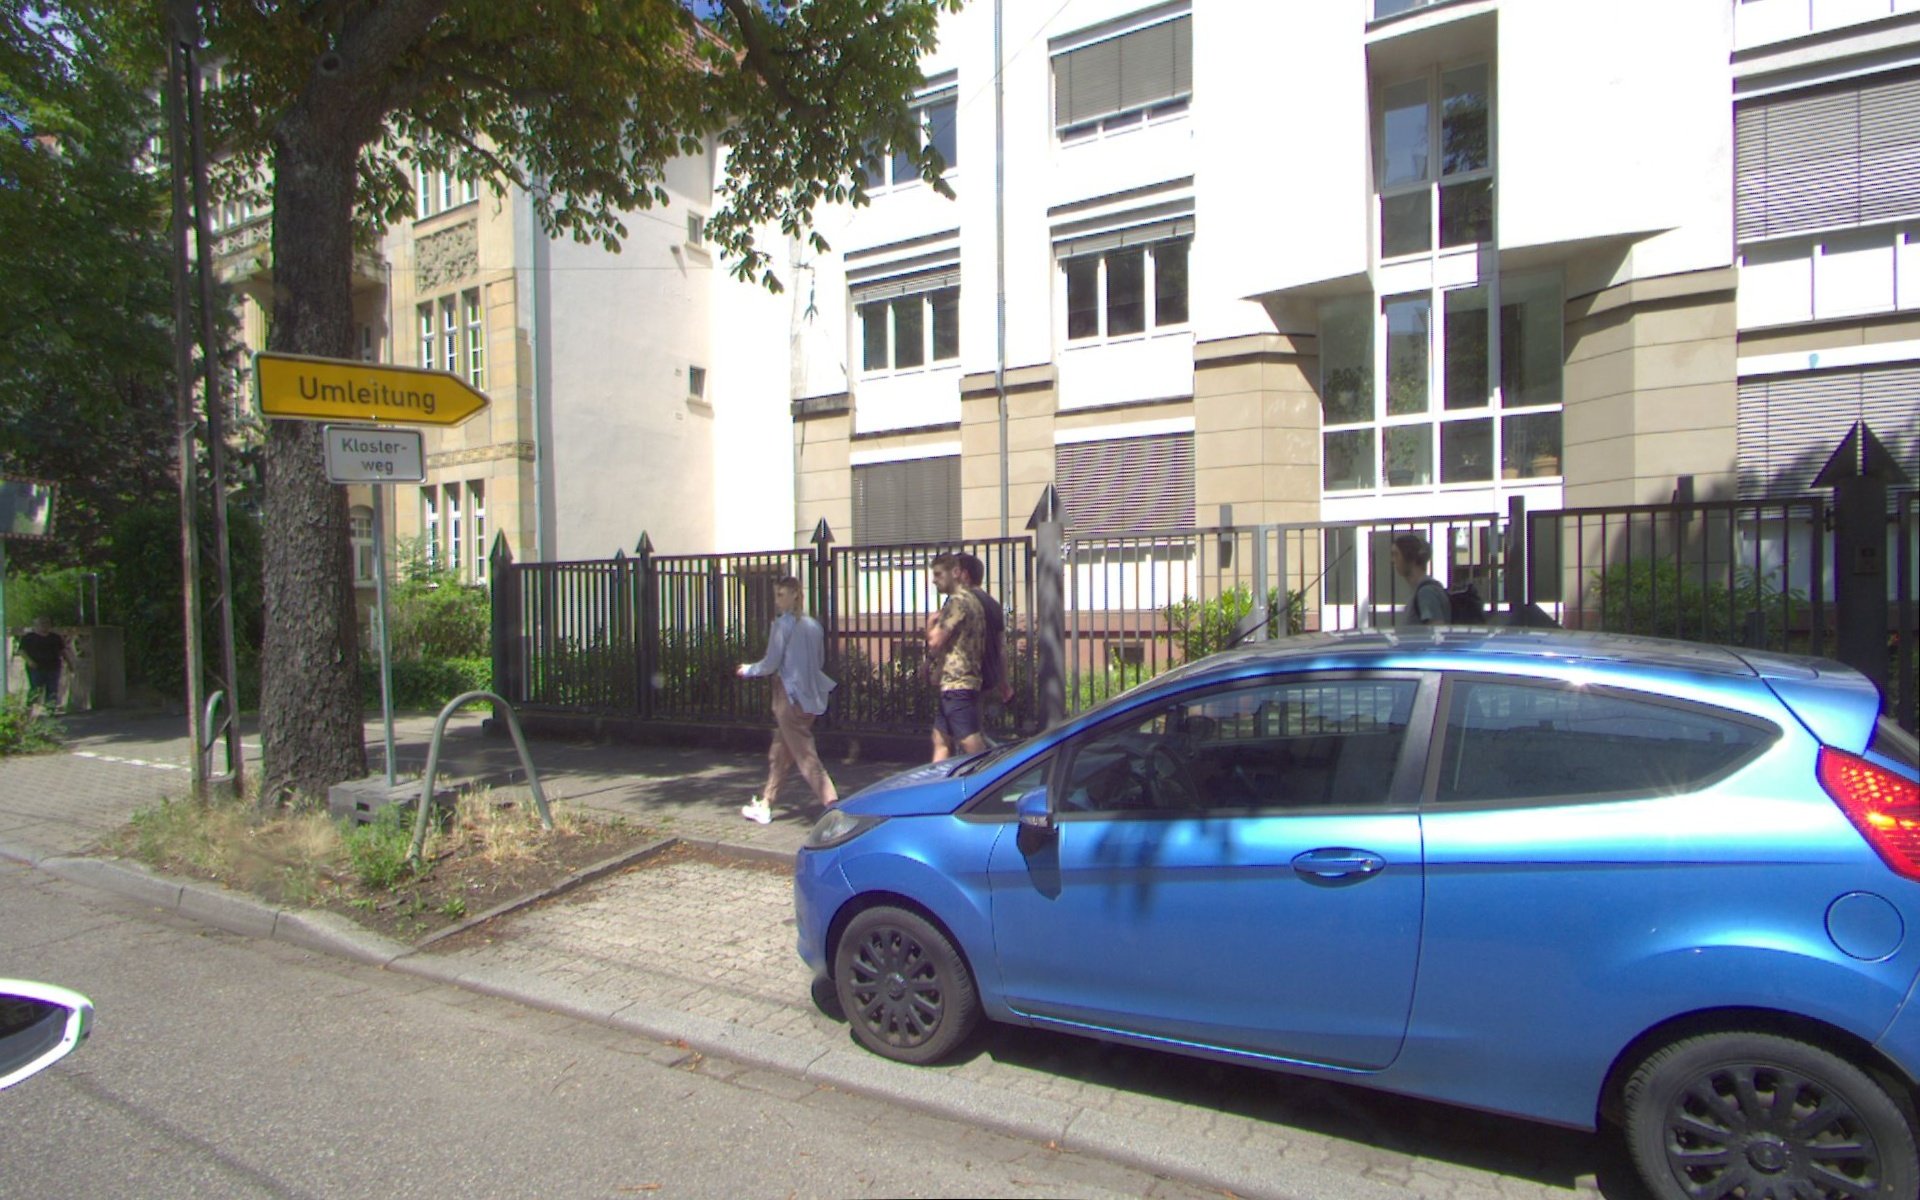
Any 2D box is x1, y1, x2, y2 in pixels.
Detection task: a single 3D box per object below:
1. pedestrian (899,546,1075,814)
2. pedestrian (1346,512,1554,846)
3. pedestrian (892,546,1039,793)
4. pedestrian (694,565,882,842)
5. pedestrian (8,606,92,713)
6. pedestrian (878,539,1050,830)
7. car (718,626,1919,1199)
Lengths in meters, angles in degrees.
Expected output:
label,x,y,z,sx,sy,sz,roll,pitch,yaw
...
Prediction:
label,x,y,z,sx,sy,sz,roll,pitch,yaw
pedestrian,0.207,0.542,7.267,1.035,1.785,0.787,0,0,27
pedestrian,2.940,0.440,6.032,1.067,1.821,0.683,0,0,29
pedestrian,0.049,0.522,7.942,0.962,1.835,0.660,0,0,29
pedestrian,-1.129,0.633,6.622,0.959,1.673,0.765,0,0,31
pedestrian,-14.851,0.946,16.341,0.826,1.667,0.854,-1,0,37
pedestrian,0.038,0.532,6.727,0.932,1.800,0.704,0,0,28
car,1.094,0.840,3.634,3.663,1.462,1.676,-1,0,28
